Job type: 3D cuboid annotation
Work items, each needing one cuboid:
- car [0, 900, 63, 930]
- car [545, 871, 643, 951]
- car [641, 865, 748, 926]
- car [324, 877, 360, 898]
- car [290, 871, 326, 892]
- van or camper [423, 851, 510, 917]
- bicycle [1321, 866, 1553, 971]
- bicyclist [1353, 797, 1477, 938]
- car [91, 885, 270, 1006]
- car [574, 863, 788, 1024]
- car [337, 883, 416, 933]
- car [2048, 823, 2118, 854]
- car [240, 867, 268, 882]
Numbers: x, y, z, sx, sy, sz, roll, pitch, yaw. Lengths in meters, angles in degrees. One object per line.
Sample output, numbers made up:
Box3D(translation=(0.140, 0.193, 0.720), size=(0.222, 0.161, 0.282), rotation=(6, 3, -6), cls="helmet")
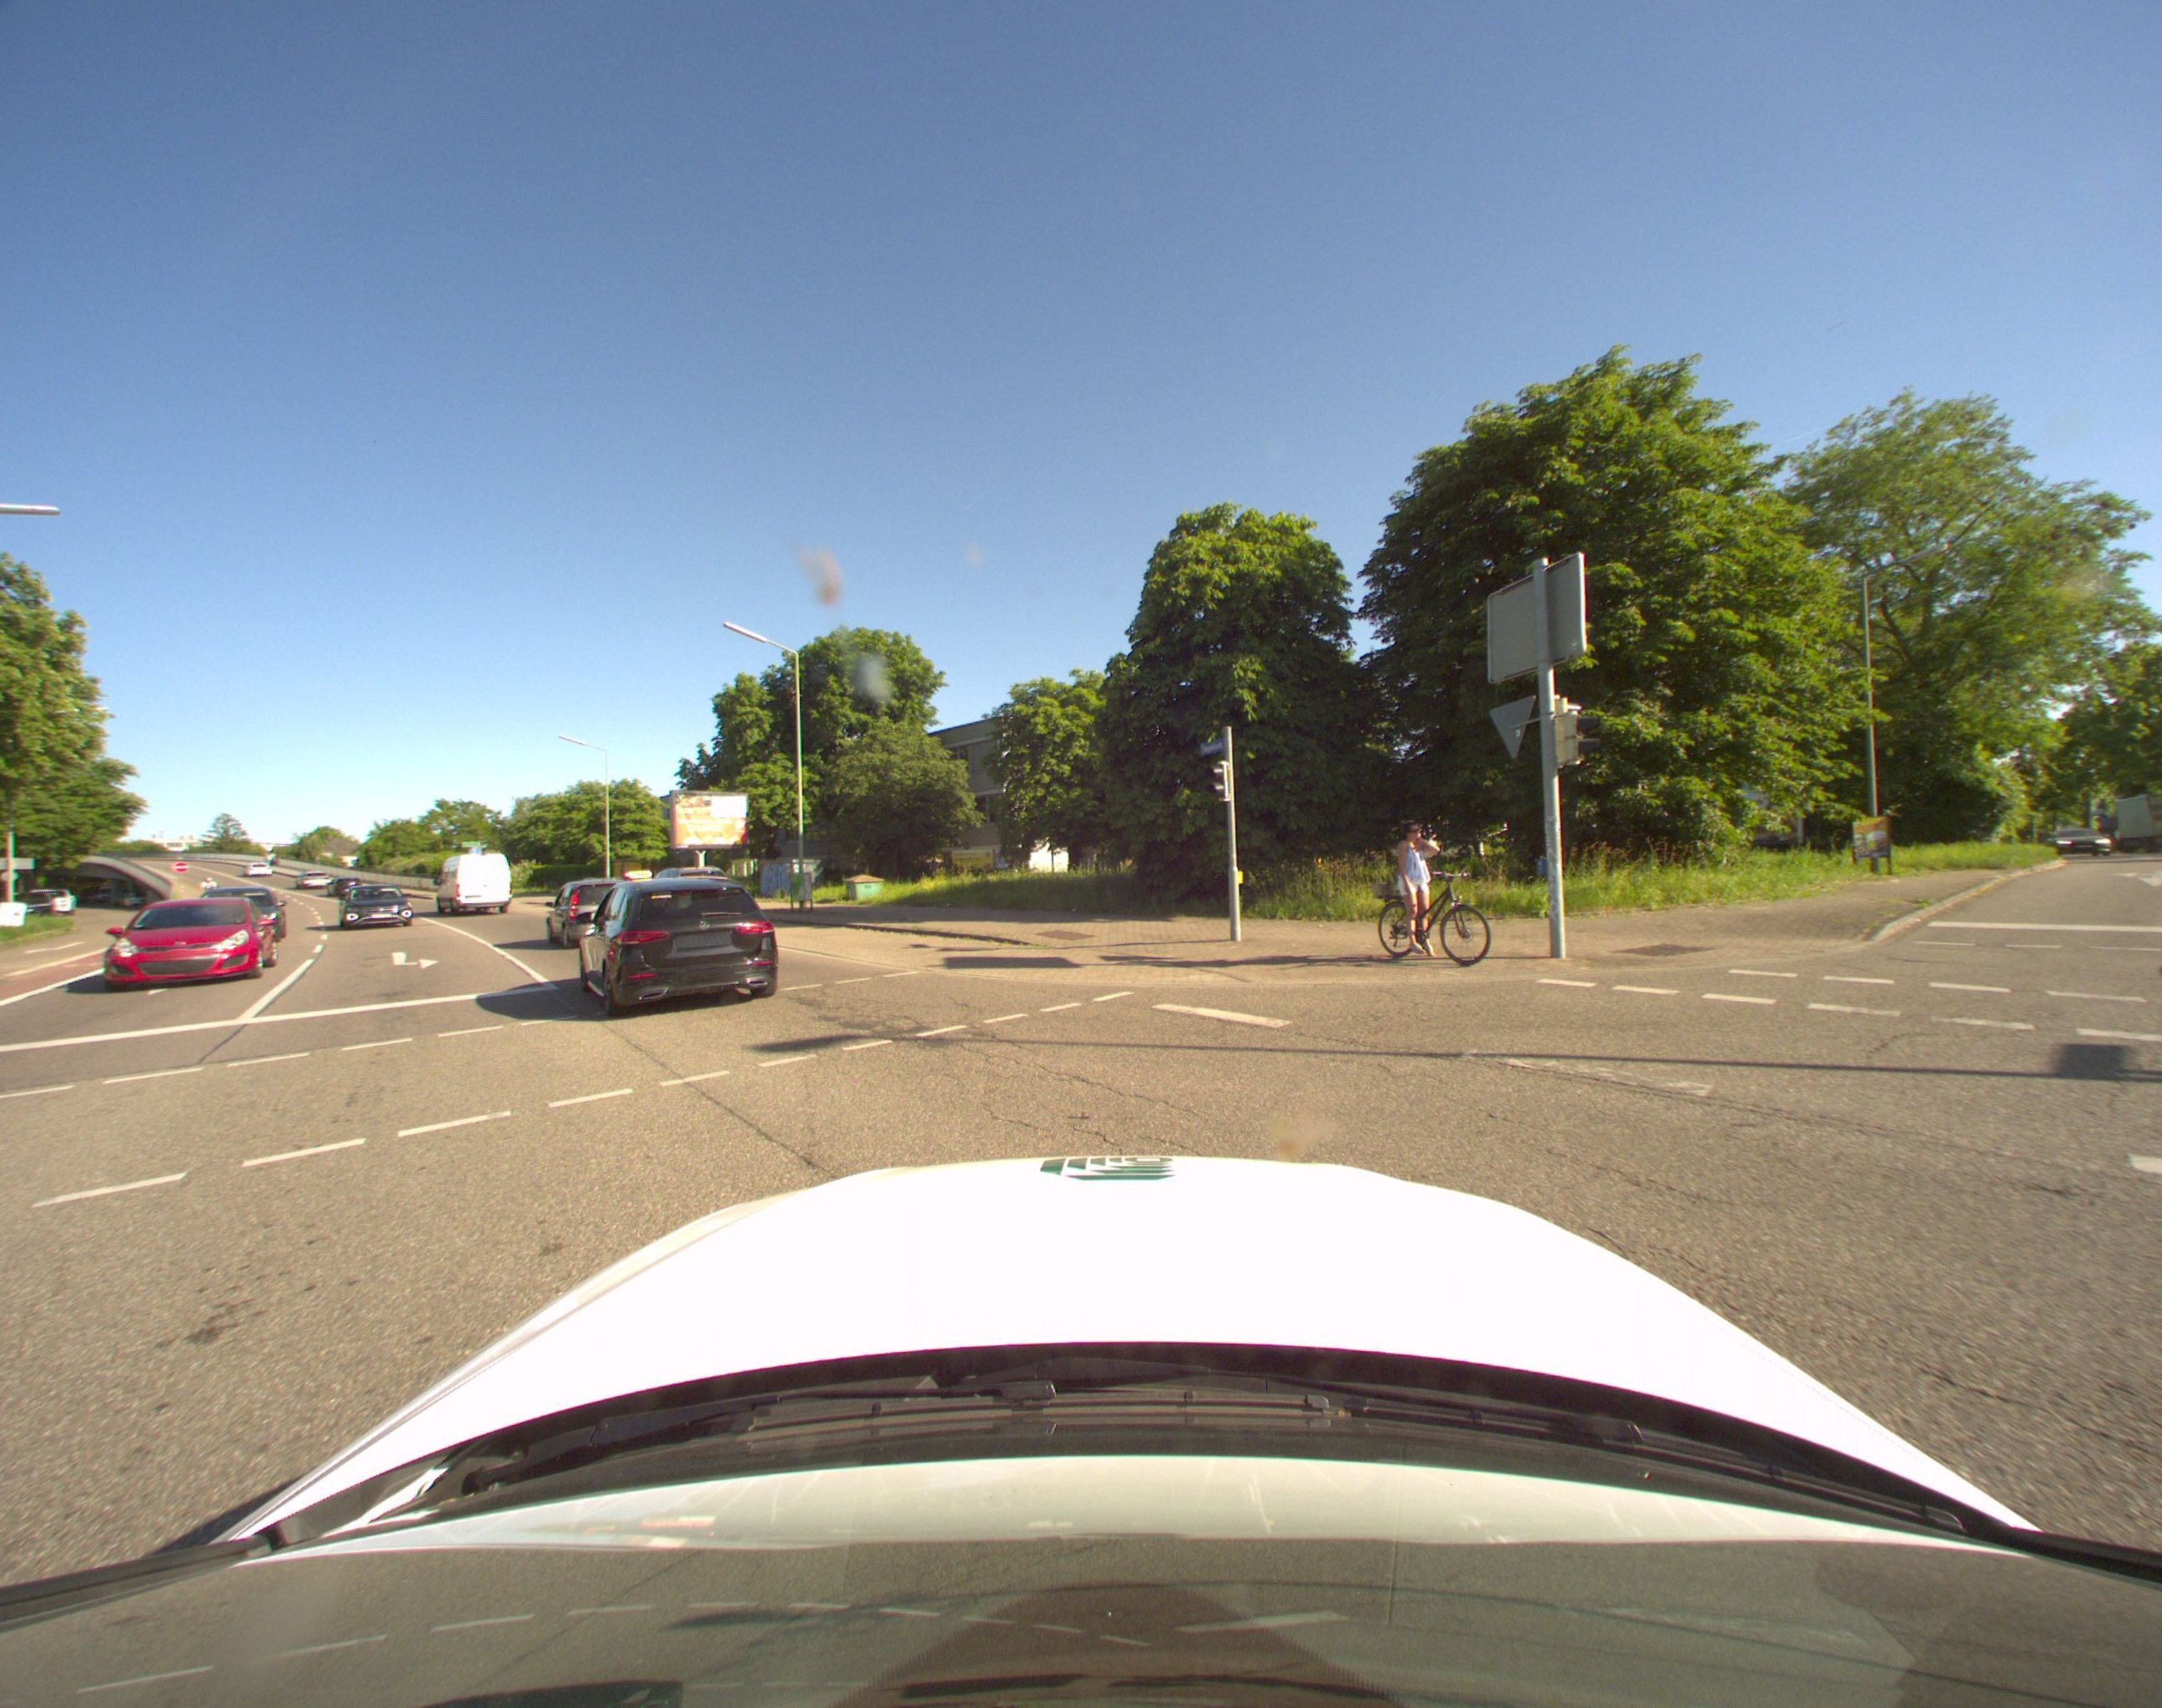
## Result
Box3D(translation=(-59.893, 3.450, 46.498), size=(4.897, 1.464, 2.057), rotation=(-2, -1, 40), cls="car")
Box3D(translation=(-11.654, 1.275, 19.438), size=(1.817, 1.640, 3.958), rotation=(-1, -1, -33), cls="car")
Box3D(translation=(-12.813, 1.340, 26.847), size=(1.889, 1.722, 4.556), rotation=(-4, 1, -42), cls="car")
Box3D(translation=(-56.629, 2.587, 62.467), size=(1.935, 1.488, 4.219), rotation=(-2, 0, -41), cls="car")
Box3D(translation=(-67.511, 2.436, 71.178), size=(2.011, 1.680, 3.952), rotation=(-3, 0, -40), cls="car")
Box3D(translation=(-27.979, 1.302, 36.970), size=(2.246, 2.739, 6.992), rotation=(0, -1, -45), cls="van or camper")
Box3D(translation=(4.343, 0.718, 10.337), size=(0.903, 1.125, 2.932), rotation=(-1, -1, -20), cls="bicycle")
Box3D(translation=(4.274, 0.163, 10.497), size=(0.892, 1.693, 1.182), rotation=(-1, -1, -21), cls="bicyclist")
Box3D(translation=(-16.053, 1.498, 14.731), size=(1.869, 1.736, 4.217), rotation=(-1, 0, -44), cls="car")
Box3D(translation=(-5.260, 0.969, 10.419), size=(1.783, 1.593, 3.944), rotation=(-1, -1, -36), cls="car")
Box3D(translation=(-25.531, 1.894, 29.482), size=(1.930, 1.599, 3.951), rotation=(-2, -1, -44), cls="car")
Box3D(translation=(51.627, -0.766, 42.033), size=(4.162, 1.470, 1.840), rotation=(-1, -1, -45), cls="car")
Box3D(translation=(-87.972, 2.179, 86.606), size=(3.949, 1.543, 1.895), rotation=(-1, -1, 41), cls="car")
